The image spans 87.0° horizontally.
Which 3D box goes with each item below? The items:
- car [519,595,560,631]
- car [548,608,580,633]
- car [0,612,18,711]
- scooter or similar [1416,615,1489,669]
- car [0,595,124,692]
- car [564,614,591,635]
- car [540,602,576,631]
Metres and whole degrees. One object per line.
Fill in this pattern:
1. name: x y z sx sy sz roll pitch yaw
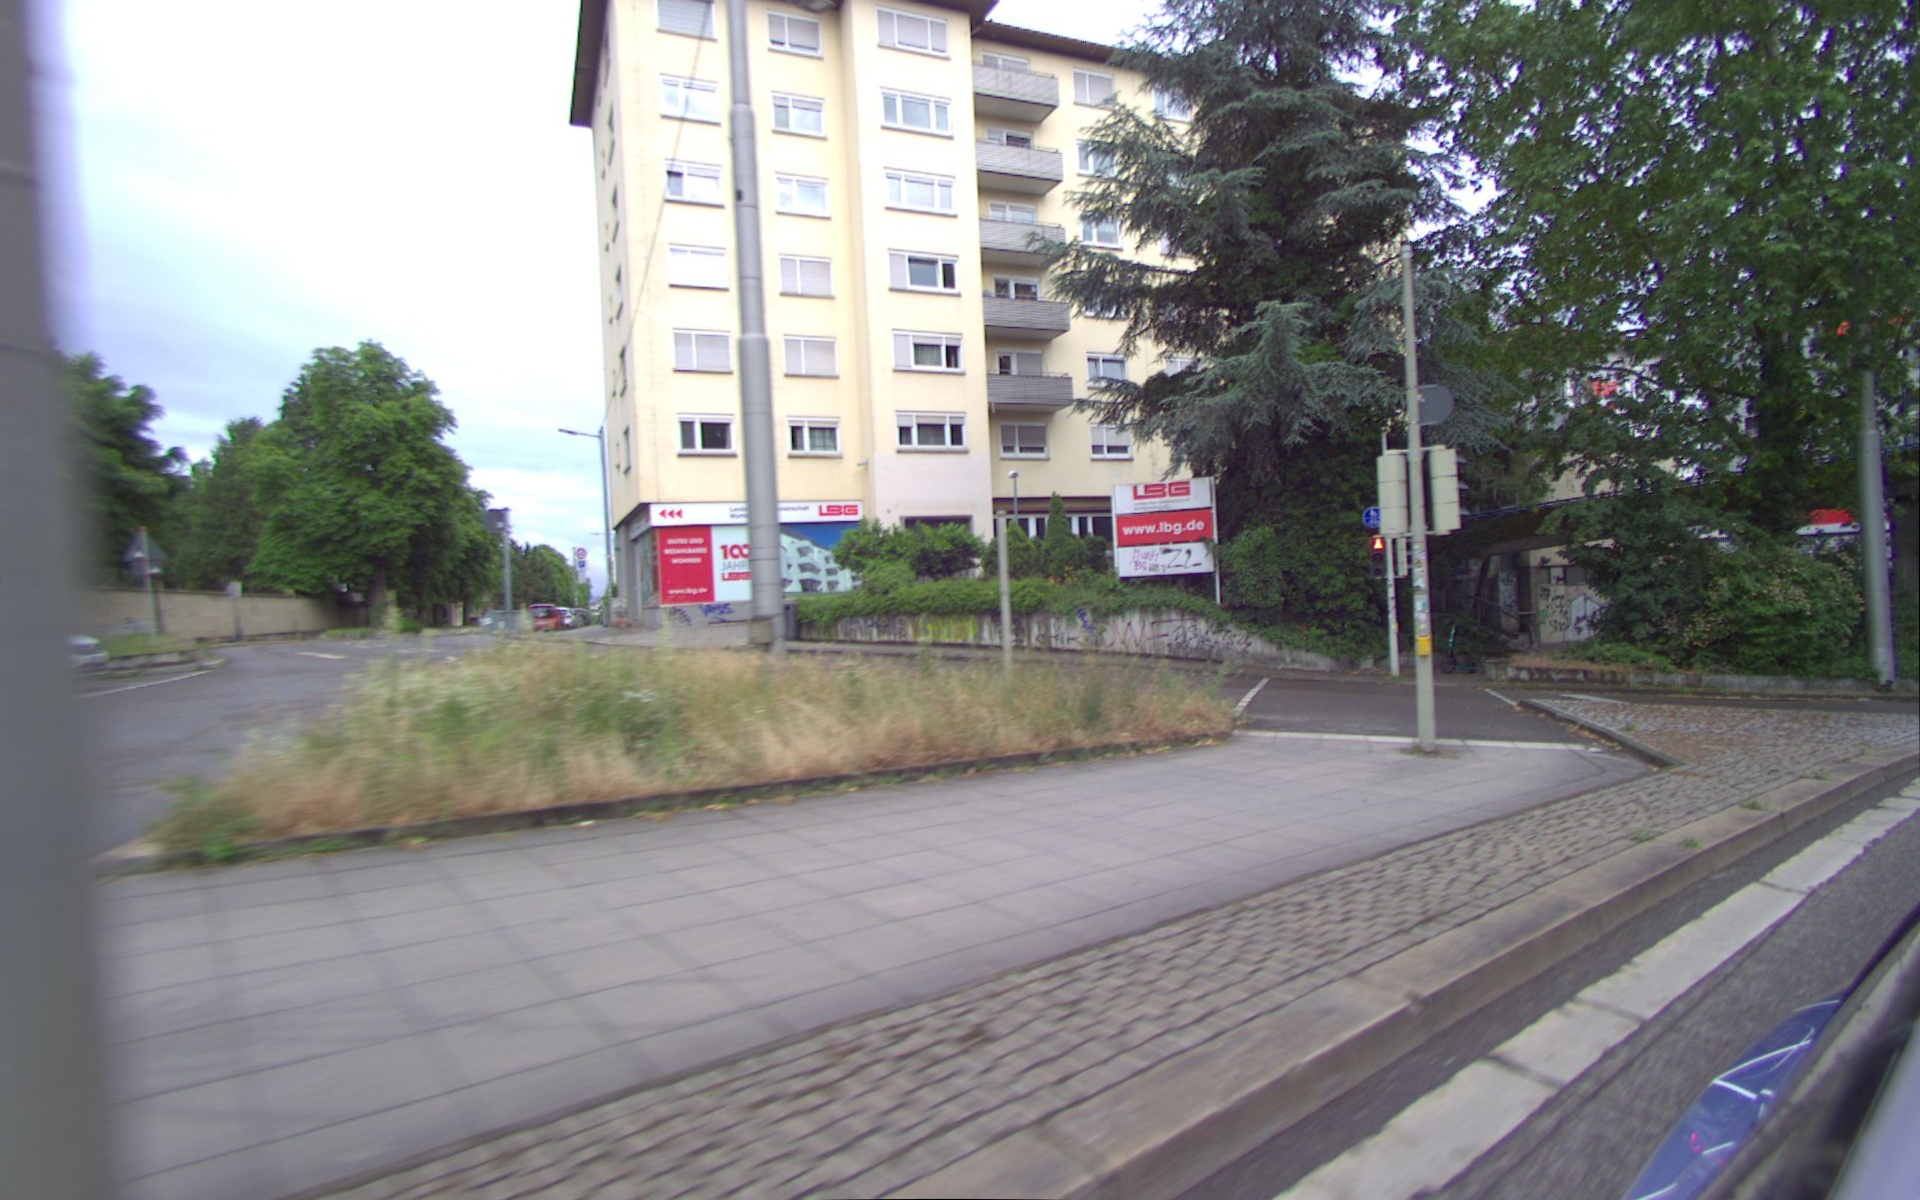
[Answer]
1. car: -21.756 0.650 52.453 1.812 1.773 4.008 1 0 -20
2. car: -27.529 1.440 70.455 1.762 1.530 4.006 -2 -2 -18
3. car: -15.445 0.994 13.399 3.917 1.408 1.793 -3 1 -17
4. scooter or similar: 11.761 0.982 24.143 1.880 1.233 0.602 1 0 -30
5. car: -17.626 0.830 17.749 4.131 1.576 1.793 -4 1 -17
6. car: -30.894 1.993 81.807 1.762 1.530 4.006 -2 -2 -18
7. car: -24.886 1.045 62.735 1.762 1.530 4.006 -2 -2 -18
